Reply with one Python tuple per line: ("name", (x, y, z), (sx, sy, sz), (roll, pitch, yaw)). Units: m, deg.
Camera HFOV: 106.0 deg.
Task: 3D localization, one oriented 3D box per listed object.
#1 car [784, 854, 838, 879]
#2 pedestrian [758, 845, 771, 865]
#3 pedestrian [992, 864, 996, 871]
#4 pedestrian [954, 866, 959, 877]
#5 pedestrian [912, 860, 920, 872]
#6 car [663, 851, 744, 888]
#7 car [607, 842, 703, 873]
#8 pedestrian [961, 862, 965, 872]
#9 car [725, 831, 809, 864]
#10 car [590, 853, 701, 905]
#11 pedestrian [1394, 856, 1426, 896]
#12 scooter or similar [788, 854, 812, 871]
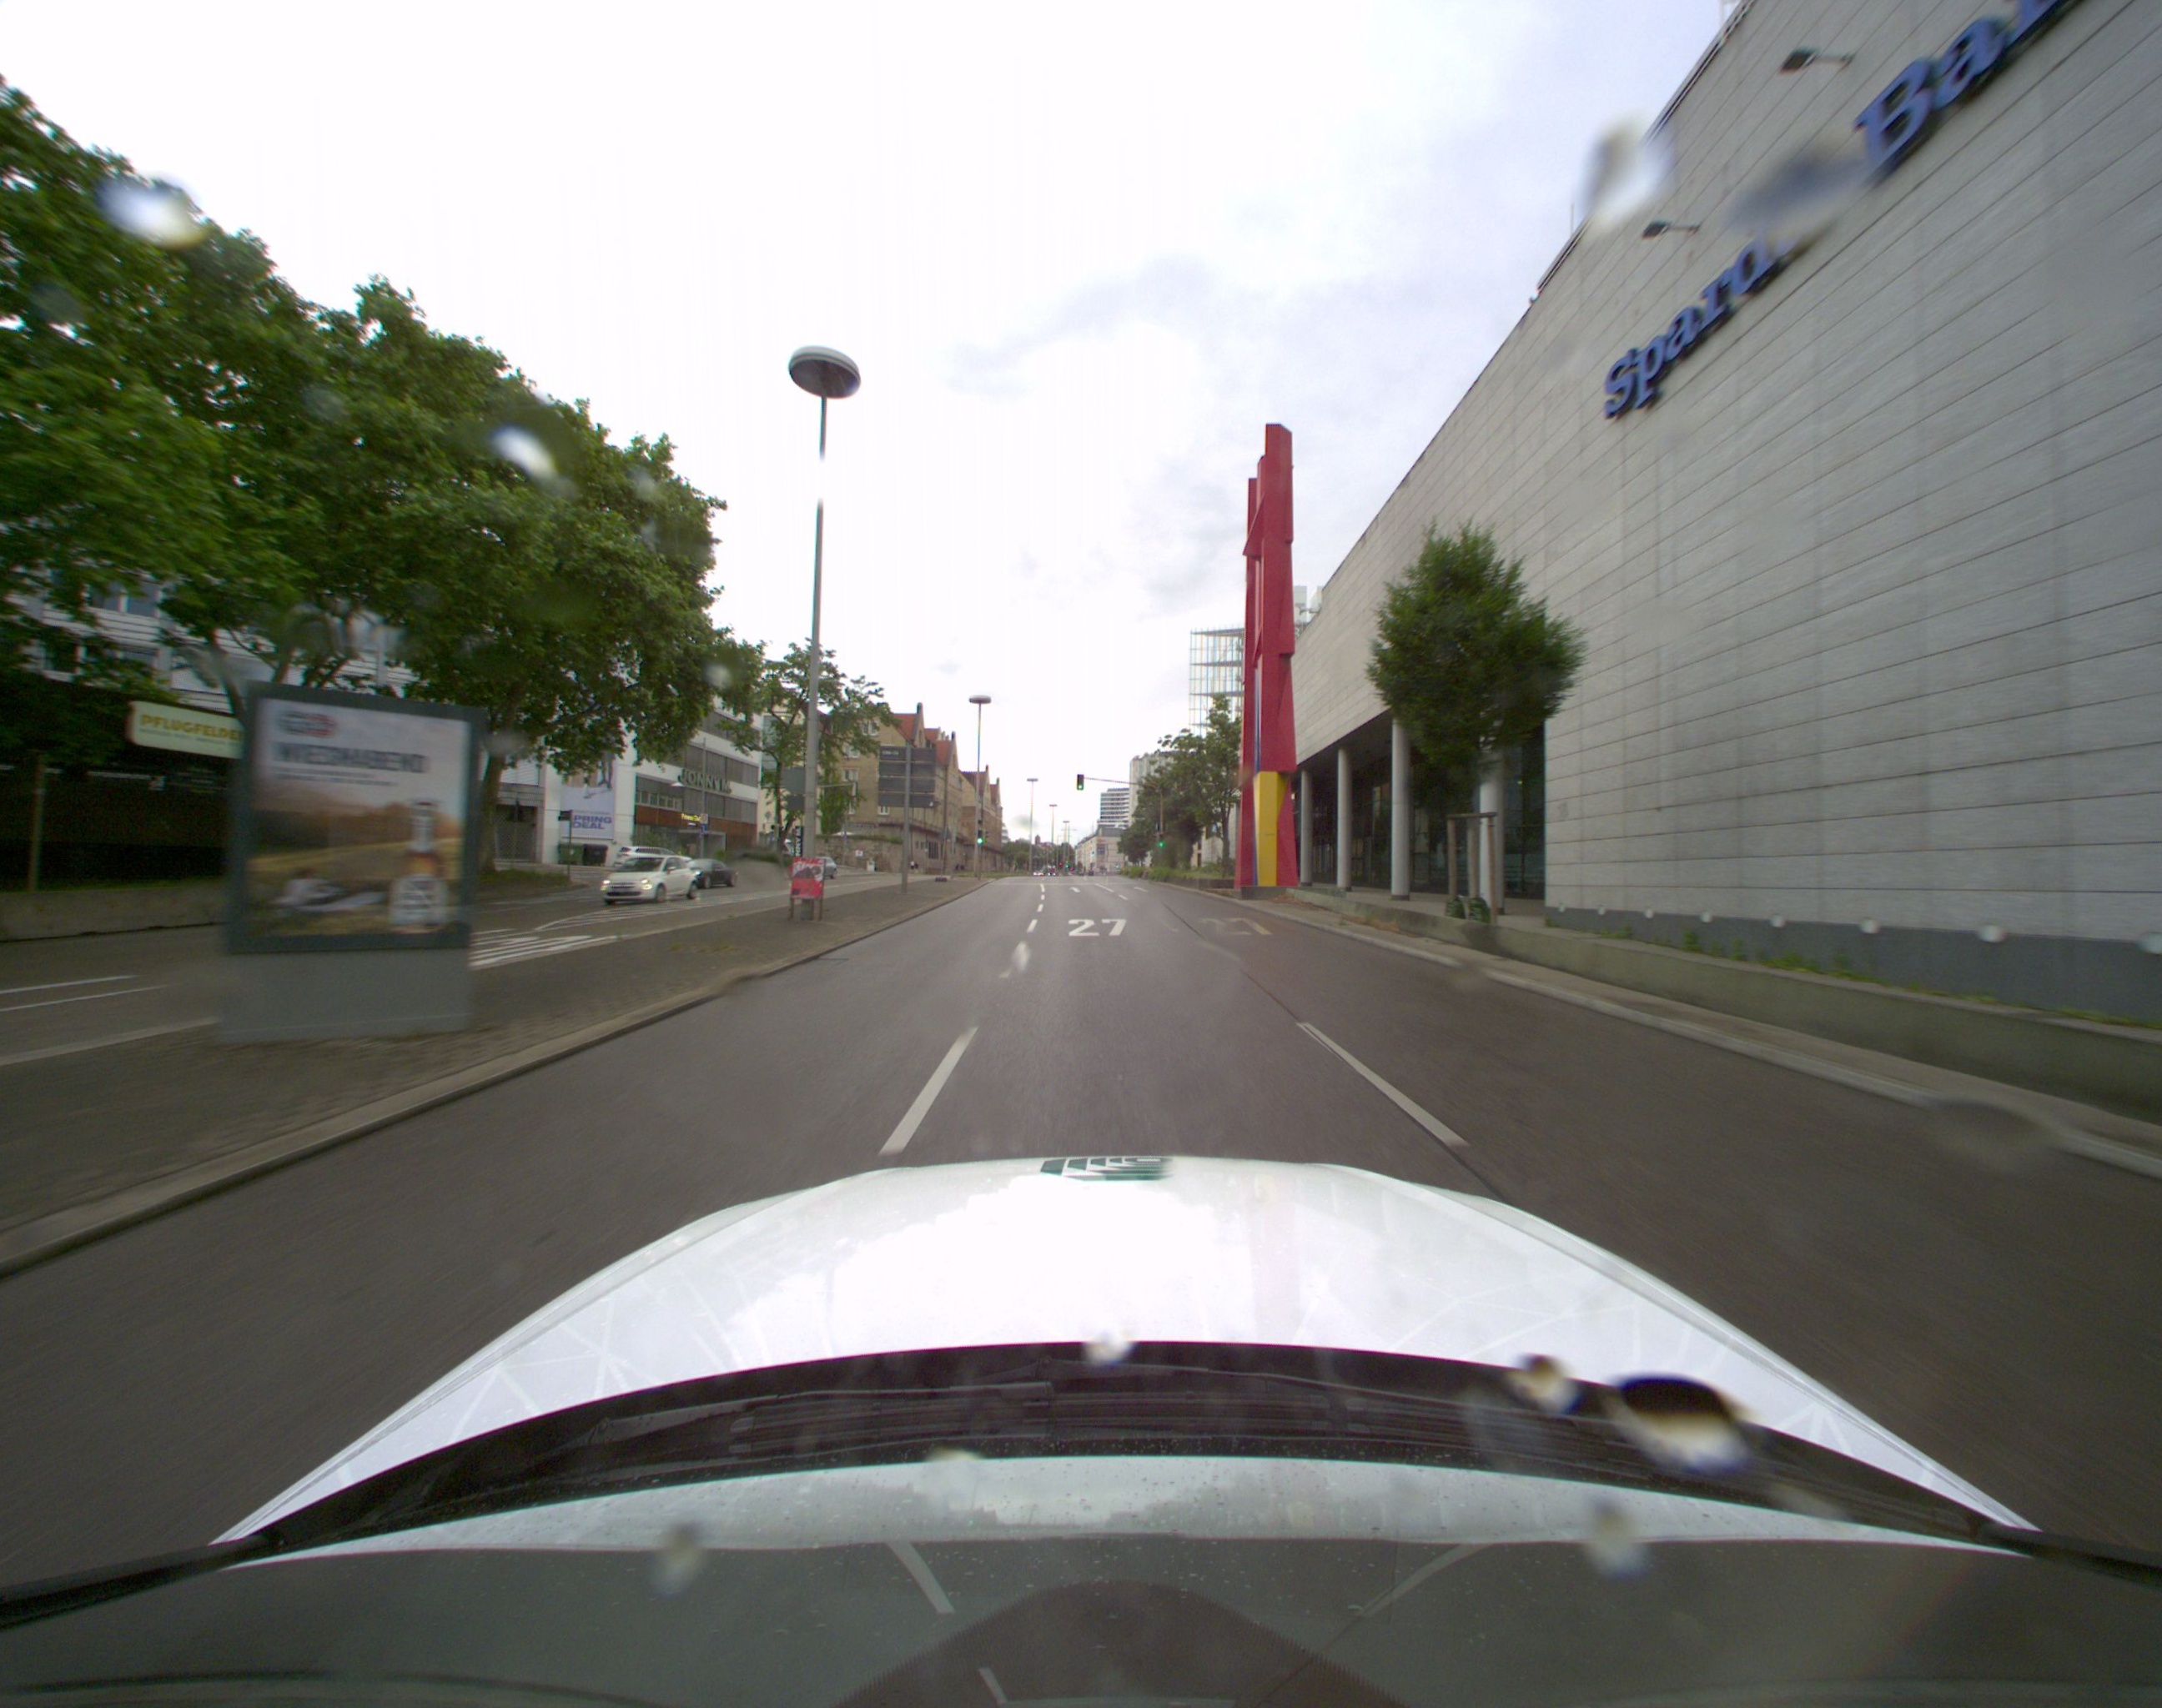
("car", (-16.705, 0.759, 50.627), (1.990, 1.447, 4.874), (0, 0, -4))
("pedestrian", (-27.178, 0.088, 69.915), (0.765, 1.641, 0.842), (0, 0, 1))
("pedestrian", (-17.826, 2.826, 166.354), (0.751, 1.478, 0.714), (0, 0, 1))
("pedestrian", (-18.959, 2.675, 124.261), (0.638, 1.746, 0.621), (0, -1, -1))
("pedestrian", (-19.494, 1.424, 96.268), (0.751, 1.478, 0.714), (0, 0, 1))
("car", (-16.817, 0.657, 36.485), (1.749, 1.519, 4.168), (0, 0, -2))
("car", (-26.704, 0.270, 51.202), (1.975, 1.654, 4.872), (2, -2, 40))
("pedestrian", (-18.975, 2.088, 130.749), (0.638, 1.746, 0.621), (0, -1, -1))
("car", (-30.162, -0.677, 78.452), (6.876, 2.275, 2.516), (7, 3, 2))
("car", (-13.534, 0.729, 25.568), (1.751, 1.519, 3.733), (0, 0, -6))
("pedestrian", (13.550, 0.895, 33.587), (0.967, 1.586, 0.841), (0, 0, -3))
("scooter or similar", (-22.828, 0.670, 66.110), (1.759, 1.247, 0.367), (4, -3, -28))
